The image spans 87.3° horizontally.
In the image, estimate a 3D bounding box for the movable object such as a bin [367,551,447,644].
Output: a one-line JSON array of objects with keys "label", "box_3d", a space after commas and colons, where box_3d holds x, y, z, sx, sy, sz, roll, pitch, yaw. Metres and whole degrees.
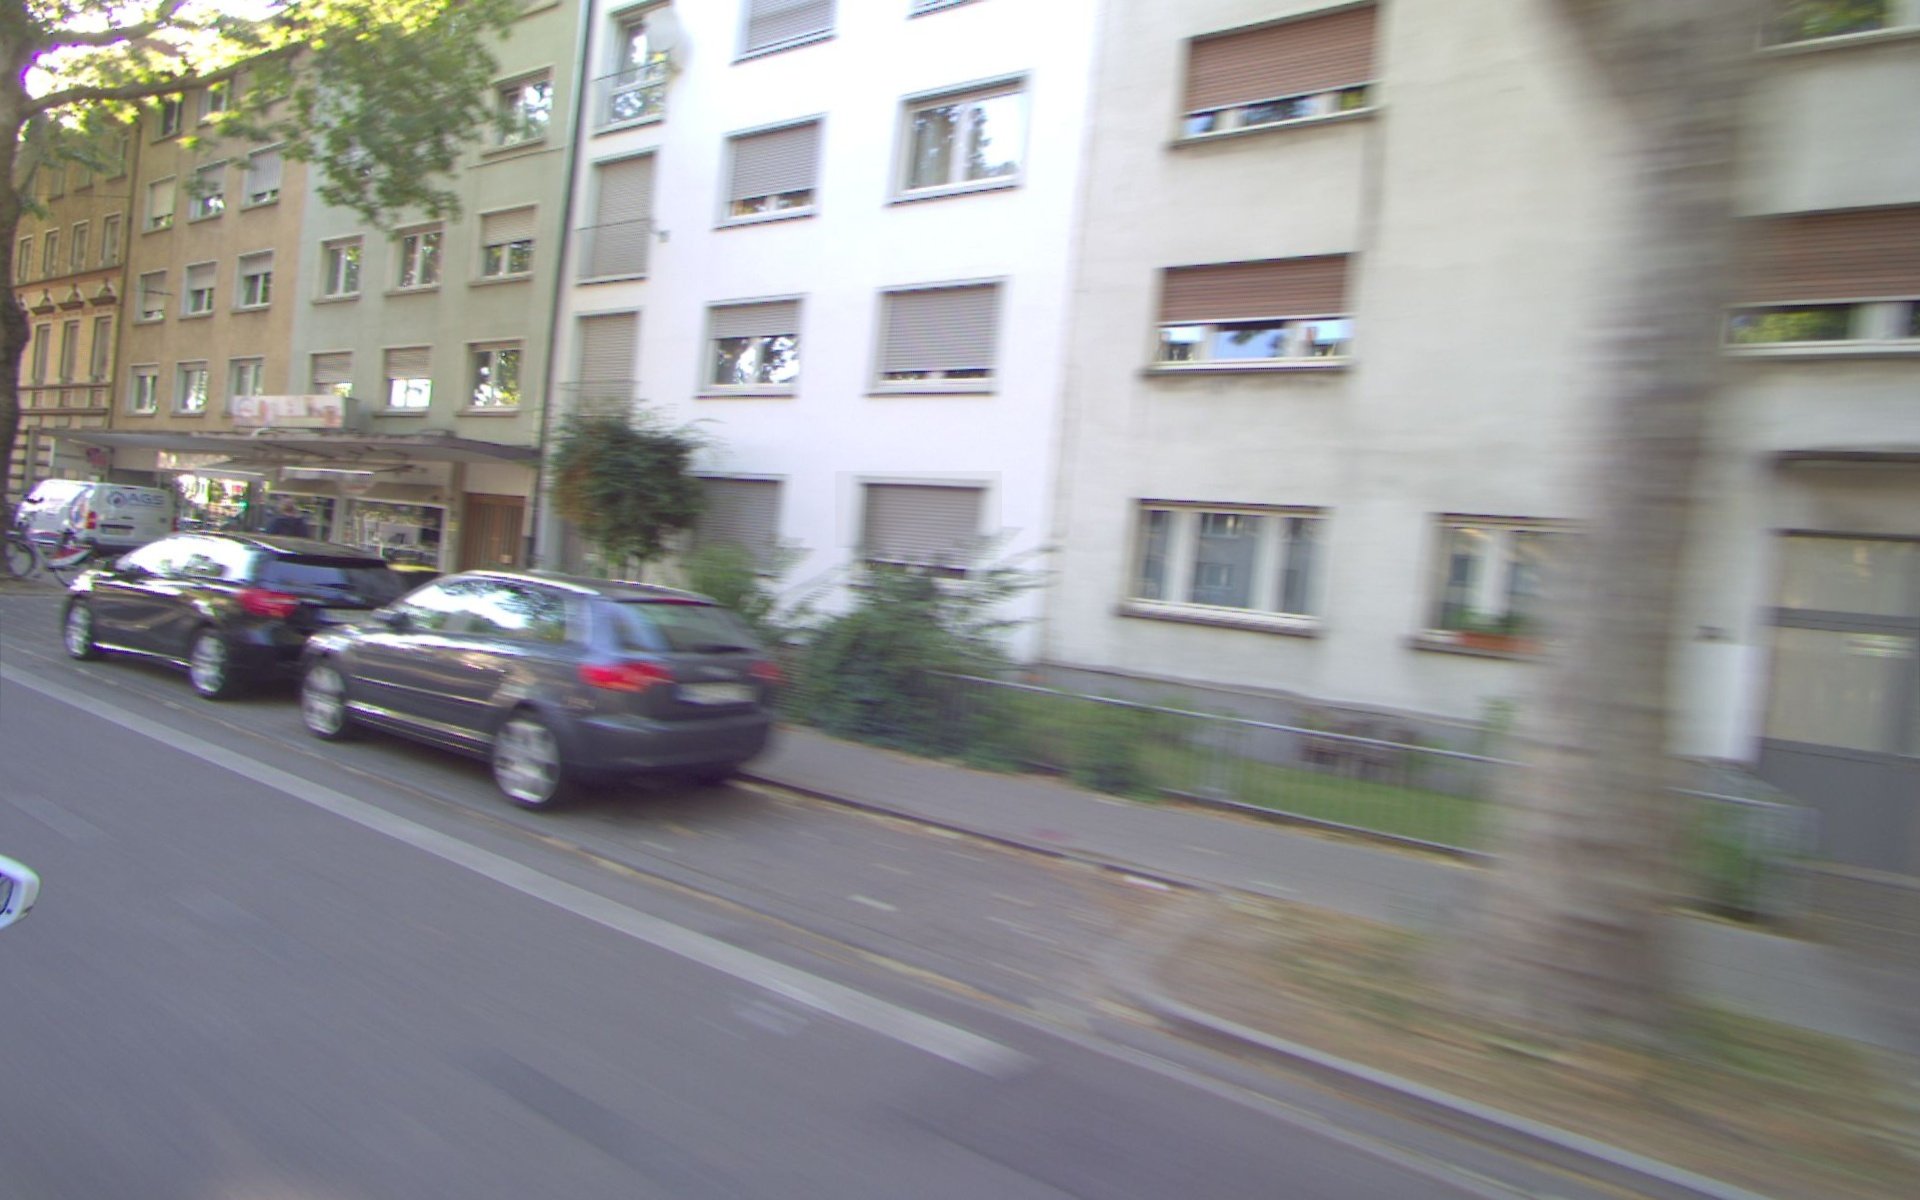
[{"label": "movable object such as a bin", "box_3d": [-7.522, -0.029, 13.690, 0.654, 1.173, 0.616, 7, 1, 29]}]

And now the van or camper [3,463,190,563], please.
[{"label": "van or camper", "box_3d": [-21.671, -2.210, 25.179, 5.301, 1.947, 1.943, 7, 1, 31]}]

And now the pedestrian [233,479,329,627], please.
[{"label": "pedestrian", "box_3d": [-9.933, -0.683, 14.711, 0.995, 2.040, 0.683, 7, 2, 31]}]

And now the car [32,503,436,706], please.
[{"label": "car", "box_3d": [-7.283, -0.044, 9.971, 4.291, 1.434, 1.708, 7, 3, 32]}]

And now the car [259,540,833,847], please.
[{"label": "car", "box_3d": [-3.203, 0.482, 7.478, 4.291, 1.434, 1.708, 7, 3, 32]}]

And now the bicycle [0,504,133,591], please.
[{"label": "bicycle", "box_3d": [-14.821, -0.873, 16.456, 2.042, 1.144, 0.772, 7, -1, 11]}]
